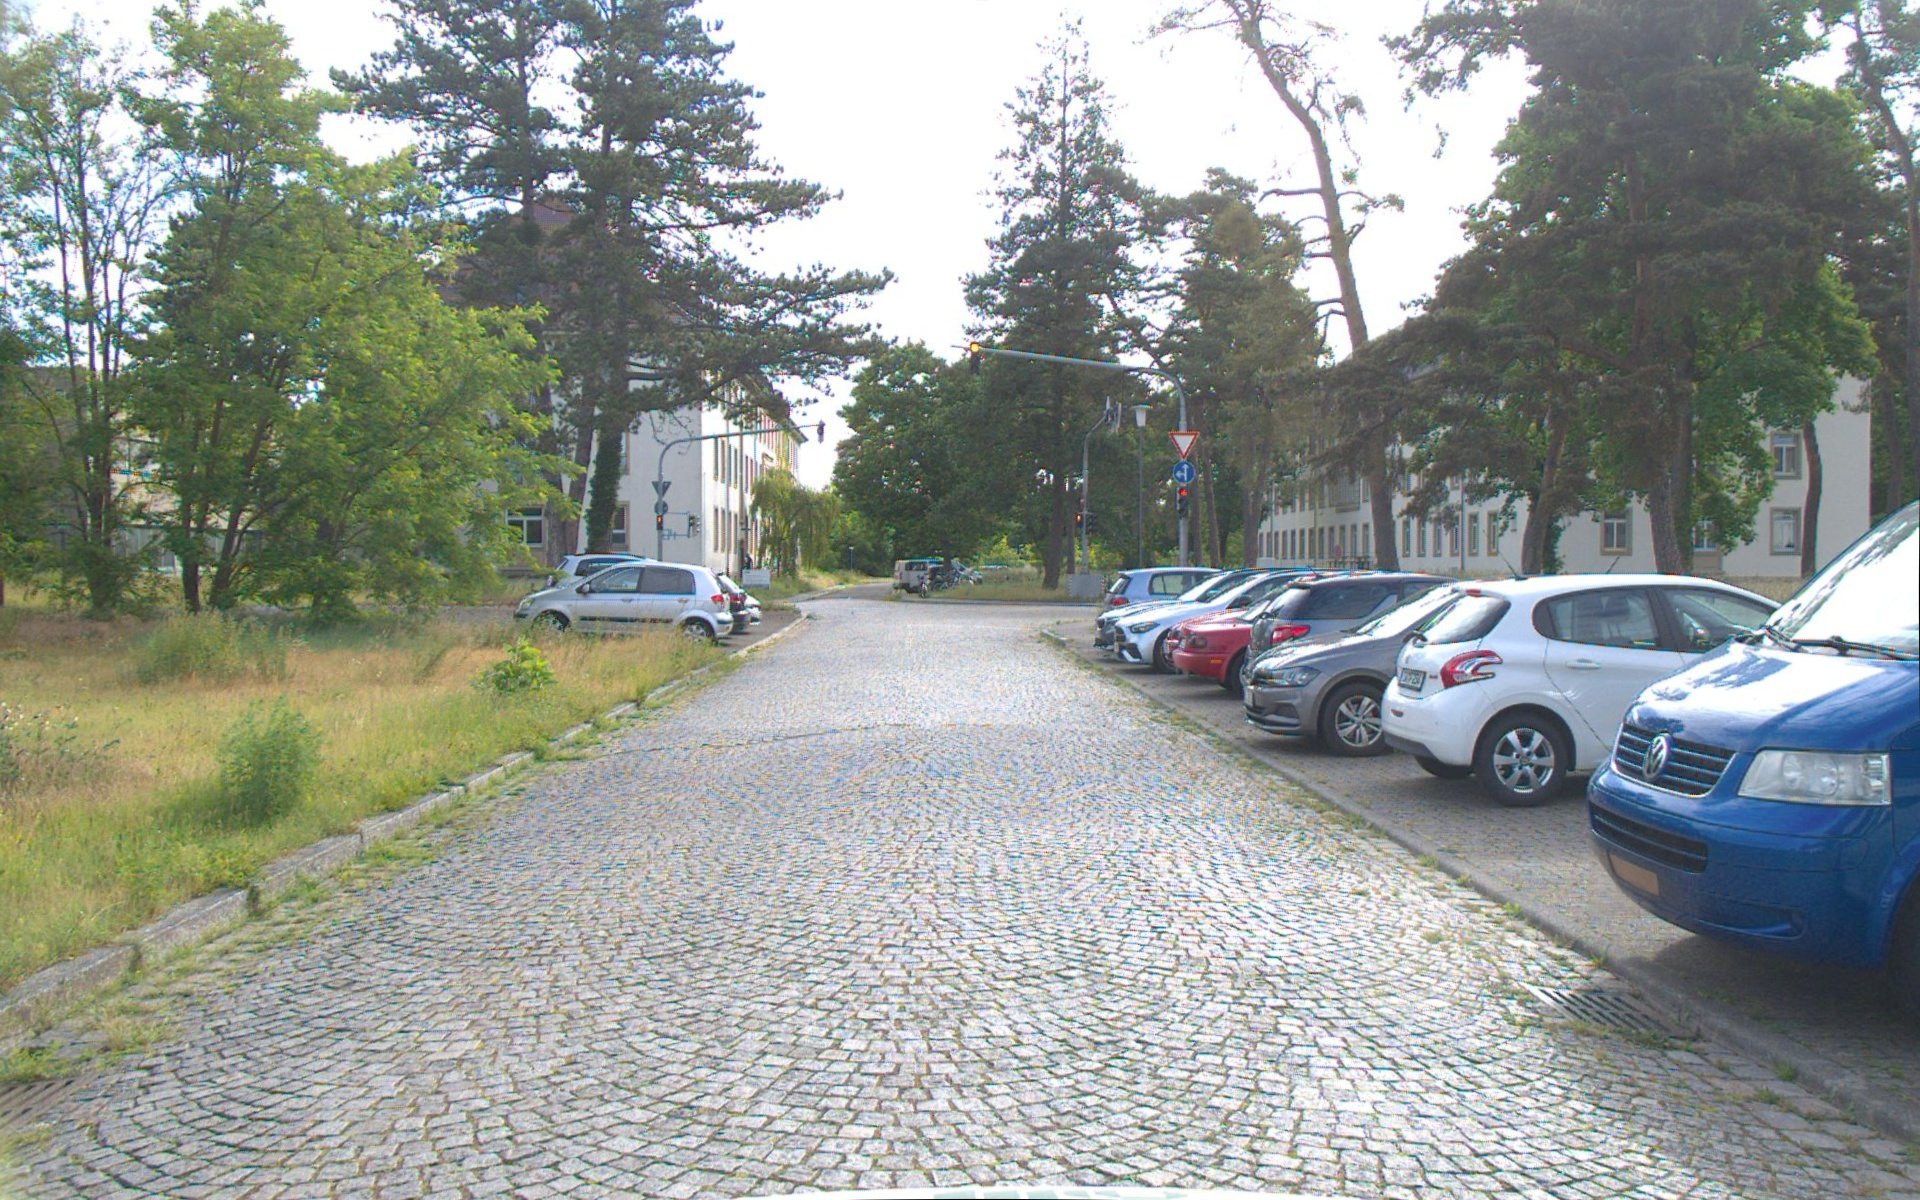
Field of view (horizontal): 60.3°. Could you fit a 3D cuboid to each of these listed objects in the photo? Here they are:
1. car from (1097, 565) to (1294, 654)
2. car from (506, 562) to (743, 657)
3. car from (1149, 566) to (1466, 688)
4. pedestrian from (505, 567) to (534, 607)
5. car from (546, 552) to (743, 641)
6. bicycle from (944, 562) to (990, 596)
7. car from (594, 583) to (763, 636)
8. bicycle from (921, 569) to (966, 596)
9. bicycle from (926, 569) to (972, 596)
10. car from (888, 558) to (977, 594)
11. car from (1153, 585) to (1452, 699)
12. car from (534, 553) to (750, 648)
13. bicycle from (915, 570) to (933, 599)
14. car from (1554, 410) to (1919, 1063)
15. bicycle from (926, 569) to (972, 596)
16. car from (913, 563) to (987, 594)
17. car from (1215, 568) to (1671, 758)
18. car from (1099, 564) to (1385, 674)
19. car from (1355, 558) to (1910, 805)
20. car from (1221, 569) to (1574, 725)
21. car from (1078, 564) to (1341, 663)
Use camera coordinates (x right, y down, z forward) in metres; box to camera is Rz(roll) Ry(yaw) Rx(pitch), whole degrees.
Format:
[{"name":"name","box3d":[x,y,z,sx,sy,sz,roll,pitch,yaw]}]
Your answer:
[{"name":"car","box3d":[4.258,0.153,30.110,3.325,1.570,1.389,0,1,-8]},{"name":"car","box3d":[-5.775,0.136,28.930,3.912,1.579,1.997,0,1,-8]},{"name":"car","box3d":[4.674,0.336,22.506,3.911,1.570,1.661,0,1,-8]},{"name":"pedestrian","box3d":[-17.194,-0.504,64.554,0.880,1.524,0.904,0,1,-1]},{"name":"car","box3d":[-6.508,-0.086,34.394,3.913,1.780,1.923,0,1,-9]},{"name":"bicycle","box3d":[0.349,-1.008,80.251,2.120,1.644,0.811,0,1,-9]},{"name":"car","box3d":[-6.199,0.199,36.678,3.602,1.113,1.643,0,1,-8]},{"name":"bicycle","box3d":[-0.812,-0.858,80.715,2.120,1.290,0.811,0,1,-9]},{"name":"bicycle","box3d":[-0.542,-0.843,79.511,2.120,1.290,0.811,0,1,-9]},{"name":"car","box3d":[-1.628,-1.411,96.708,4.962,2.048,1.994,0,1,-13]},{"name":"car","box3d":[4.133,0.483,20.239,3.230,1.289,1.661,0,1,-8]},{"name":"car","box3d":[-5.960,-0.019,31.415,3.912,1.735,1.997,0,1,-8]},{"name":"bicycle","box3d":[-1.633,-0.731,75.123,0.793,1.290,1.973,0,1,-1]},{"name":"car","box3d":[4.905,0.417,6.285,4.688,2.075,1.737,0,1,-4]},{"name":"bicycle","box3d":[-0.520,-0.838,78.924,2.120,1.290,0.811,0,1,-9]},{"name":"car","box3d":[-0.582,-1.227,93.470,3.912,1.673,1.997,0,1,-8]},{"name":"car","box3d":[4.216,0.487,14.646,3.535,1.533,1.659,0,1,-13]},{"name":"car","box3d":[4.167,0.245,24.717,3.911,1.570,1.661,0,1,-8]},{"name":"car","box3d":[4.631,0.507,11.675,3.227,1.530,1.663,-1,1,-4]},{"name":"car","box3d":[4.590,0.441,17.539,3.235,1.530,1.659,0,1,-13]},{"name":"car","box3d":[4.114,0.188,27.534,4.045,1.570,1.661,0,1,-8]}]
